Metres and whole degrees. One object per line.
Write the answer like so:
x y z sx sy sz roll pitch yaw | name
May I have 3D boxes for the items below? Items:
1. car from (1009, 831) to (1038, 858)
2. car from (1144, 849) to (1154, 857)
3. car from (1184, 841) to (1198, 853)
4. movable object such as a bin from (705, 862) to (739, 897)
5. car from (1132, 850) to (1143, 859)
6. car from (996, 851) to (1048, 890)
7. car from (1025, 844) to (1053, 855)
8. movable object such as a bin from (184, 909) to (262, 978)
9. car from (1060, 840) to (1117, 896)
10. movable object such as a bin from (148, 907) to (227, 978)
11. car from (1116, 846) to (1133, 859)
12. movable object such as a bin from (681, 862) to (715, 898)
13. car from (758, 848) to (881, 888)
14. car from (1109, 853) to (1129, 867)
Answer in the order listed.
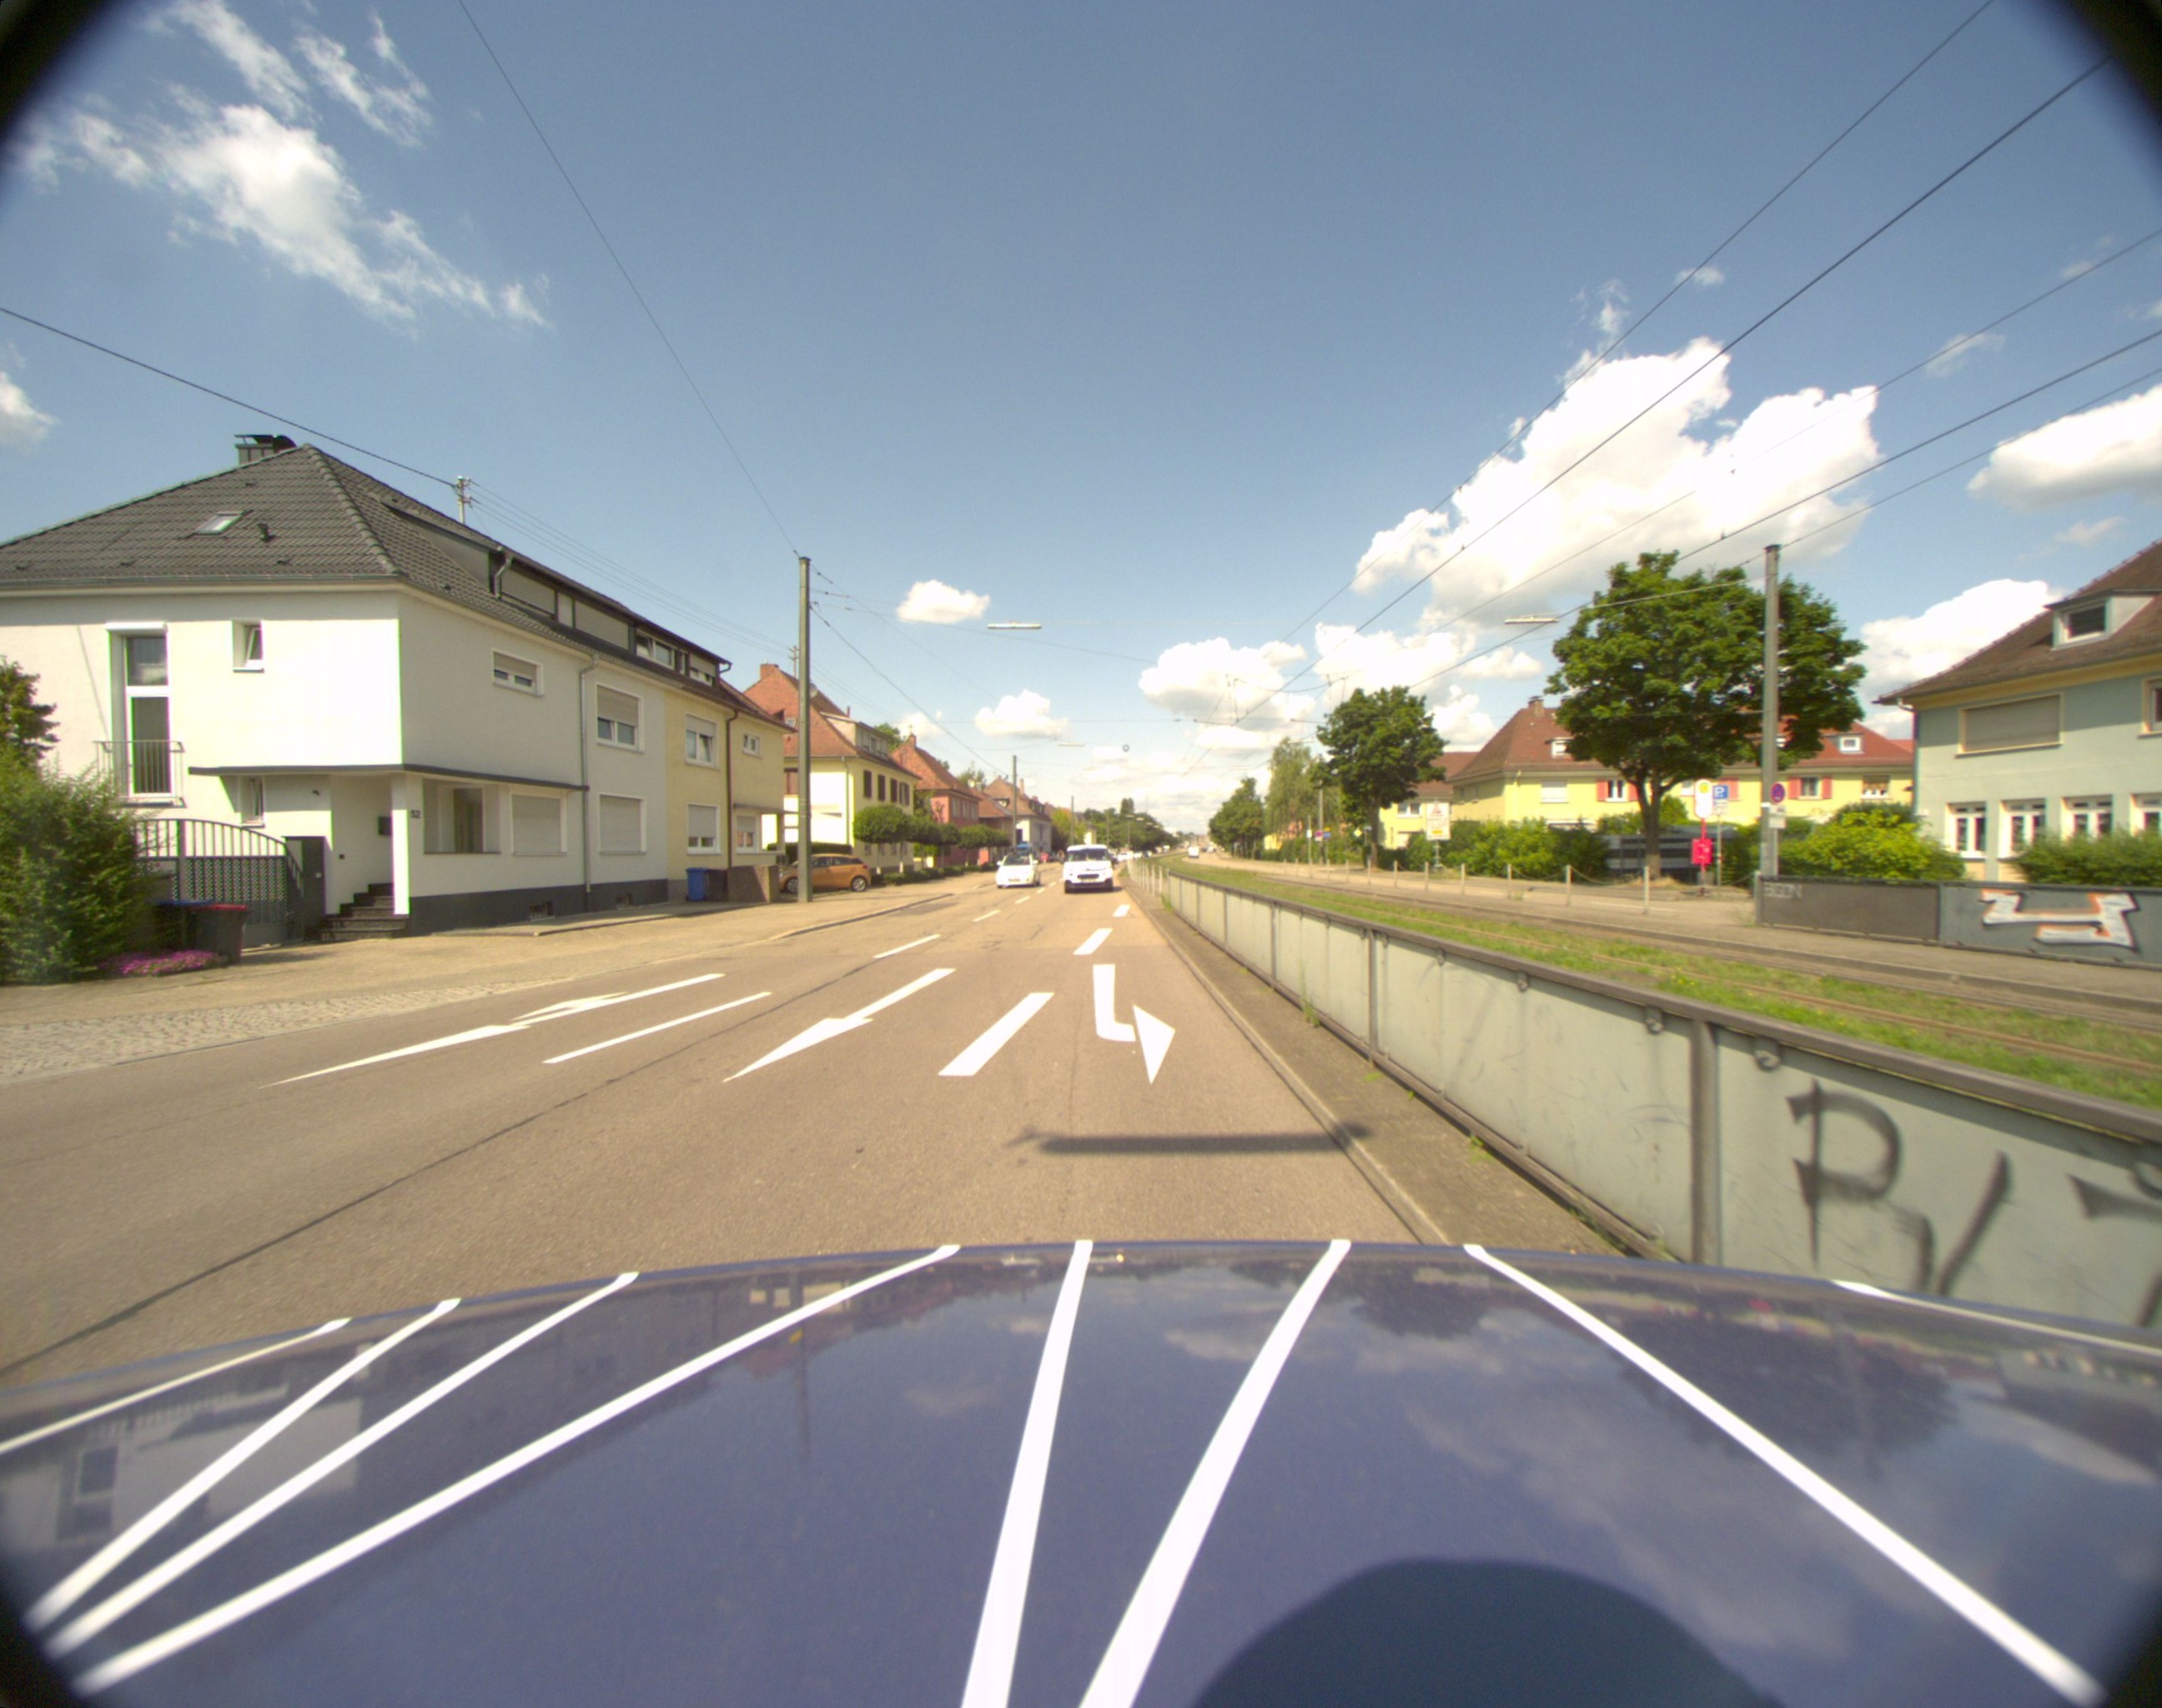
-6.656 -1.165 89.123 2.156 2.913 6.245 -3 1 6 | car
15.000 -0.256 167.370 1.997 1.477 4.001 -3 1 8 | car
22.538 -1.544 155.311 2.201 2.359 5.332 0 1 2 | car
-10.978 0.774 23.245 0.640 1.041 0.685 -2 1 0 | movable object such as a bin
11.120 0.052 149.585 1.997 1.477 4.001 -3 1 8 | car
-2.681 0.716 35.476 1.777 1.541 4.000 -3 1 4 | car
-5.873 -0.637 105.657 3.657 1.373 1.727 -2 2 4 | car
-12.214 1.265 10.828 0.446 0.890 0.545 -1 1 -4 | movable object such as a bin
0.361 0.444 28.500 1.777 1.850 4.376 -3 1 4 | car
-12.720 1.244 10.833 0.442 0.929 0.549 -1 1 -4 | movable object such as a bin
6.255 -0.196 108.273 1.997 1.576 4.002 -3 1 9 | car
-11.684 0.777 23.213 0.647 1.049 0.659 -2 1 0 | movable object such as a bin
-10.159 0.504 29.616 4.101 1.449 1.911 0 -1 -40 | car
4.509 0.726 90.619 1.997 1.477 4.001 -3 1 8 | car
